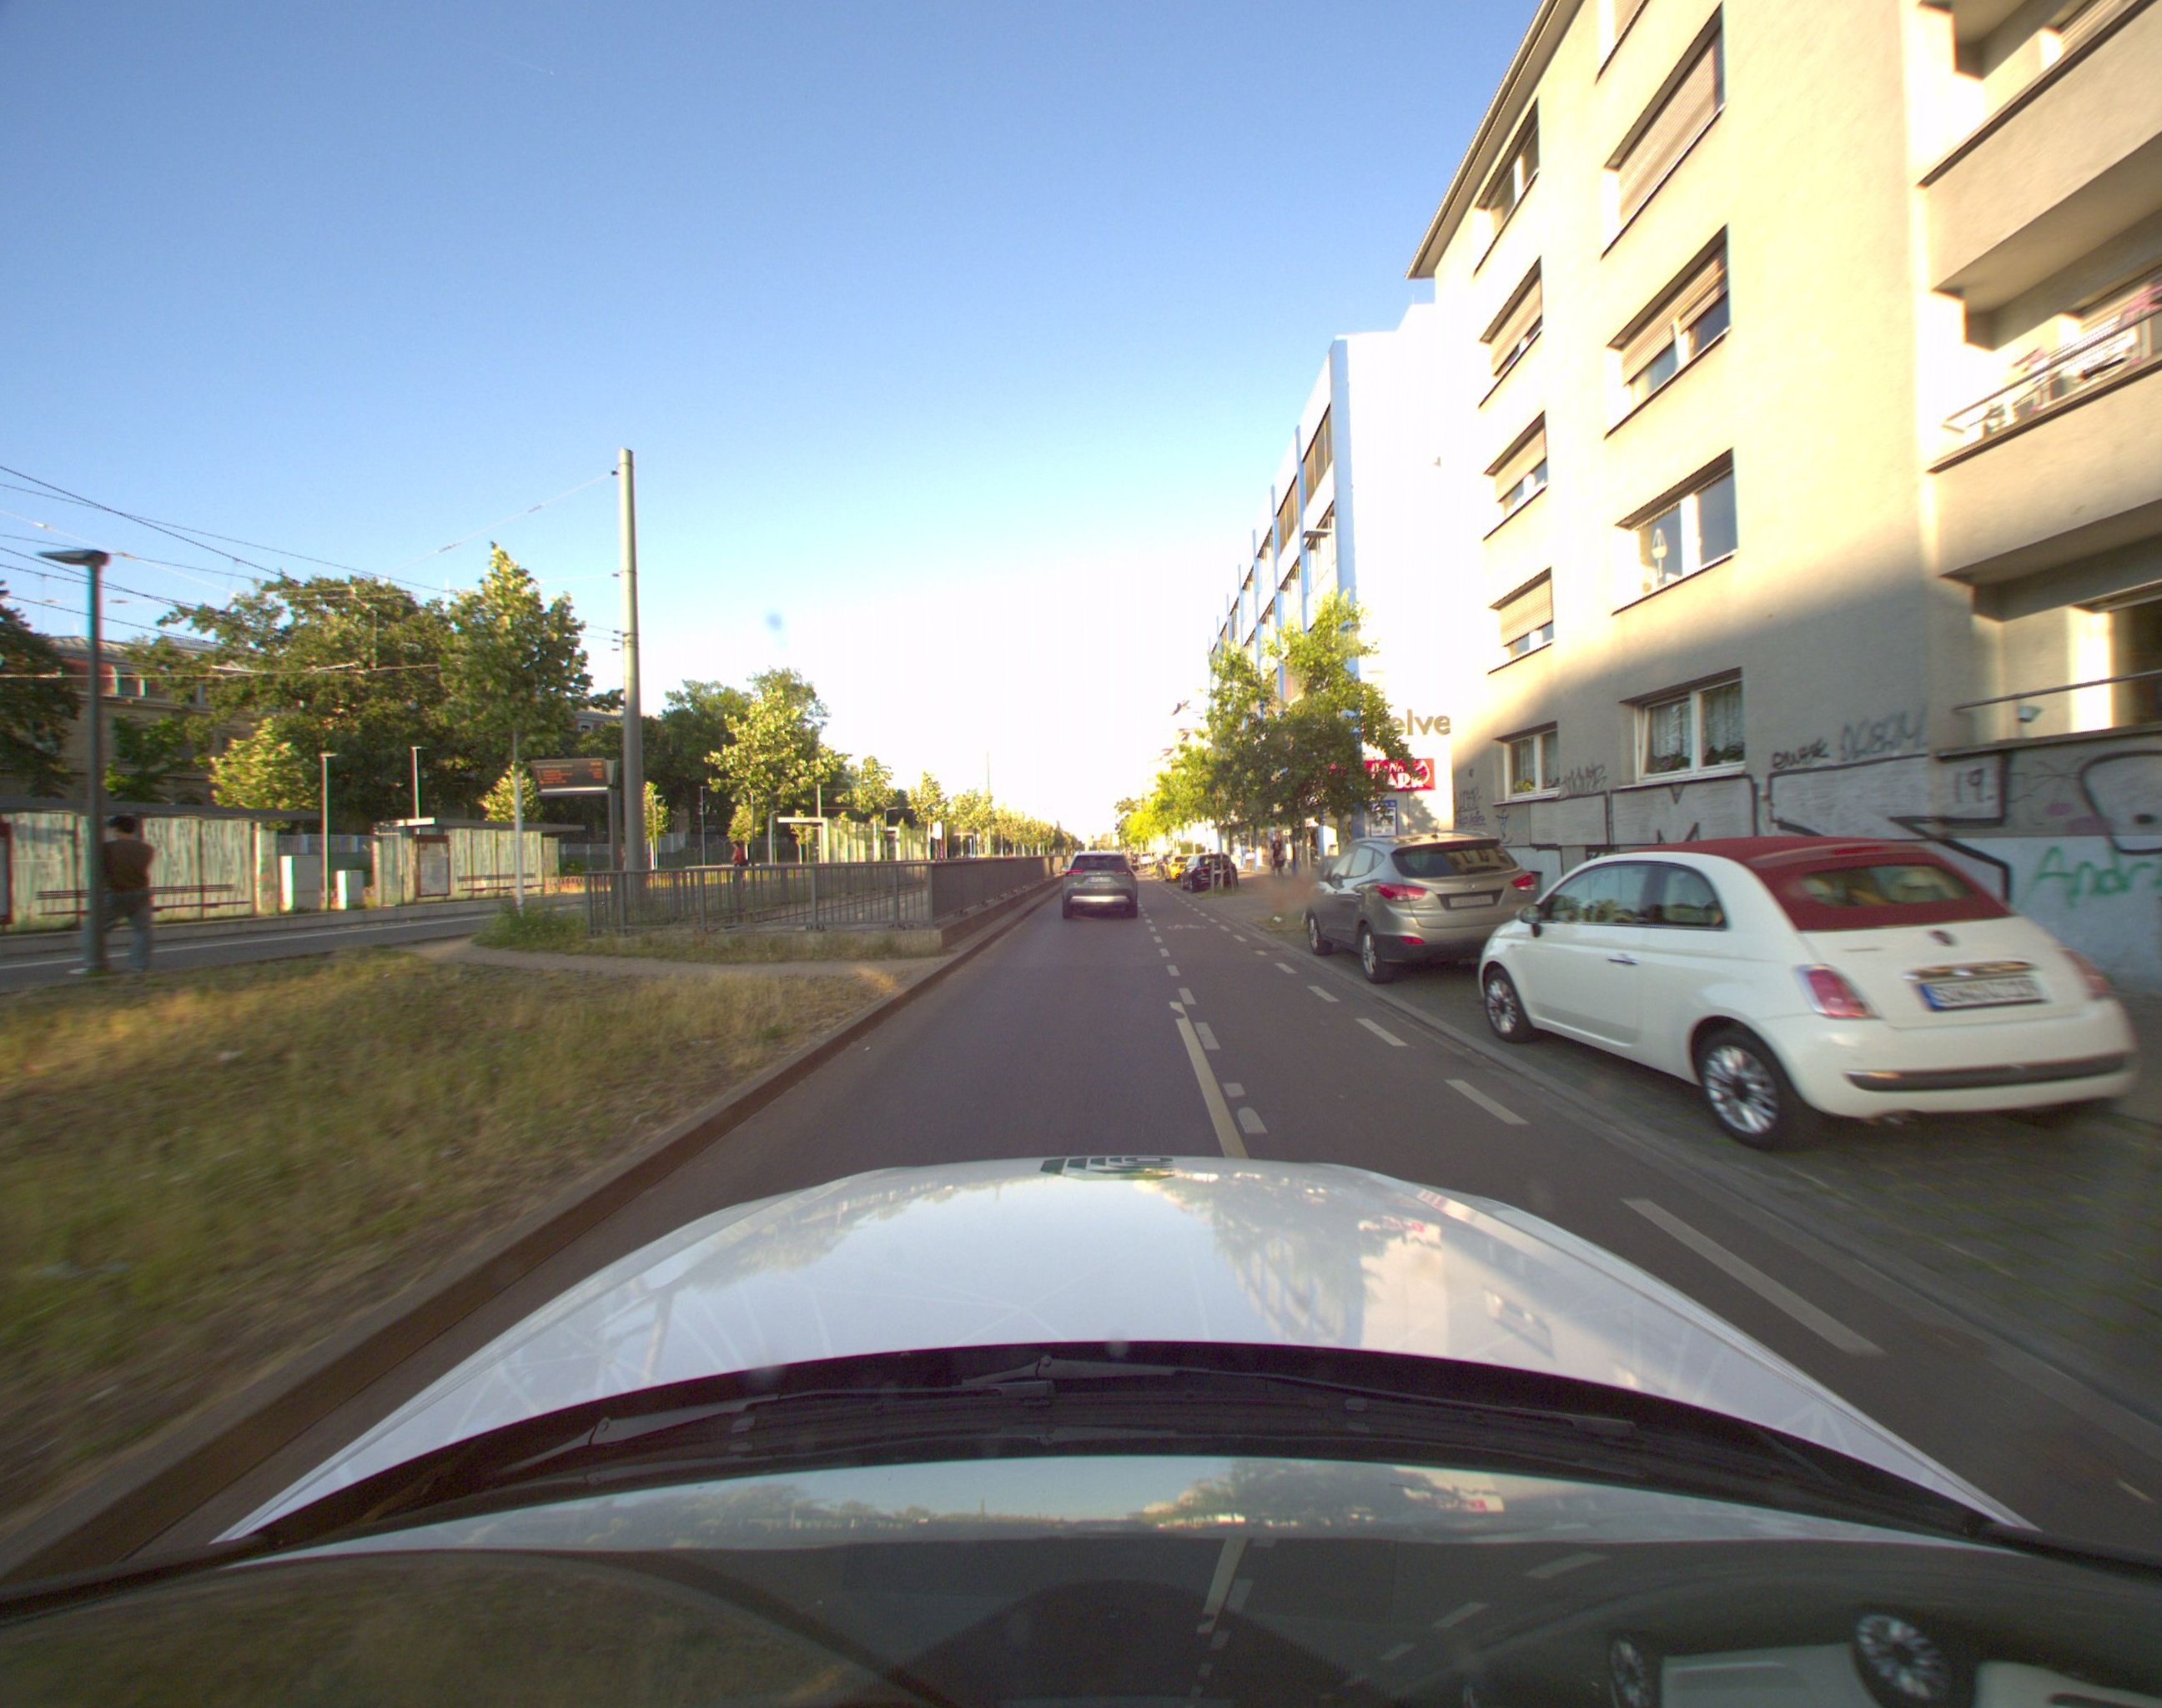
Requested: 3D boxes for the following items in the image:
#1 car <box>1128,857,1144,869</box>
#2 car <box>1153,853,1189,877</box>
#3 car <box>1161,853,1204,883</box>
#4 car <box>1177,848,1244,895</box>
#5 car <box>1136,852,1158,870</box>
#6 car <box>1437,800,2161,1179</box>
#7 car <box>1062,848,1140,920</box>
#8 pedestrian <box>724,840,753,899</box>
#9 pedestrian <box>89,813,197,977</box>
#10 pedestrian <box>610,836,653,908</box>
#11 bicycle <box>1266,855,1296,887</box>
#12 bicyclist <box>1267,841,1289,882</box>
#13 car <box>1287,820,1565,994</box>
[{"bbox_3d":[7.504,1.175,111.970,1.787,1.471,4.443,-5,0,-1],"label":"car"},{"bbox_3d":[5.814,0.716,53.154,1.813,1.454,4.128,-3,0,0],"label":"car"},{"bbox_3d":[5.324,0.735,43.165,1.678,1.454,4.129,-3,0,0],"label":"car"},{"bbox_3d":[5.085,0.655,32.714,1.813,1.566,4.809,-5,0,0],"label":"car"},{"bbox_3d":[6.620,0.718,82.571,1.848,1.706,4.253,-2,0,0],"label":"car"},{"bbox_3d":[4.035,0.601,5.393,1.664,1.518,3.601,-5,0,0],"label":"car"},{"bbox_3d":[0.477,0.726,21.312,1.852,1.714,4.192,0,-1,0],"label":"car"},{"bbox_3d":[-10.387,0.470,24.702,0.634,1.729,0.634,-2,0,-11],"label":"pedestrian"},{"bbox_3d":[-10.634,0.454,9.247,0.468,1.787,0.627,-2,-1,9],"label":"pedestrian"},{"bbox_3d":[-11.309,0.442,20.508,0.724,1.744,0.635,-1,0,-6],"label":"pedestrian"},{"bbox_3d":[7.550,0.618,30.780,0.552,1.129,1.973,-5,-1,0],"label":"bicycle"},{"bbox_3d":[7.462,0.286,30.797,0.556,1.475,0.622,-5,-1,0],"label":"bicyclist"},{"bbox_3d":[4.103,0.550,10.617,1.750,1.654,4.531,-4,0,2],"label":"car"}]
